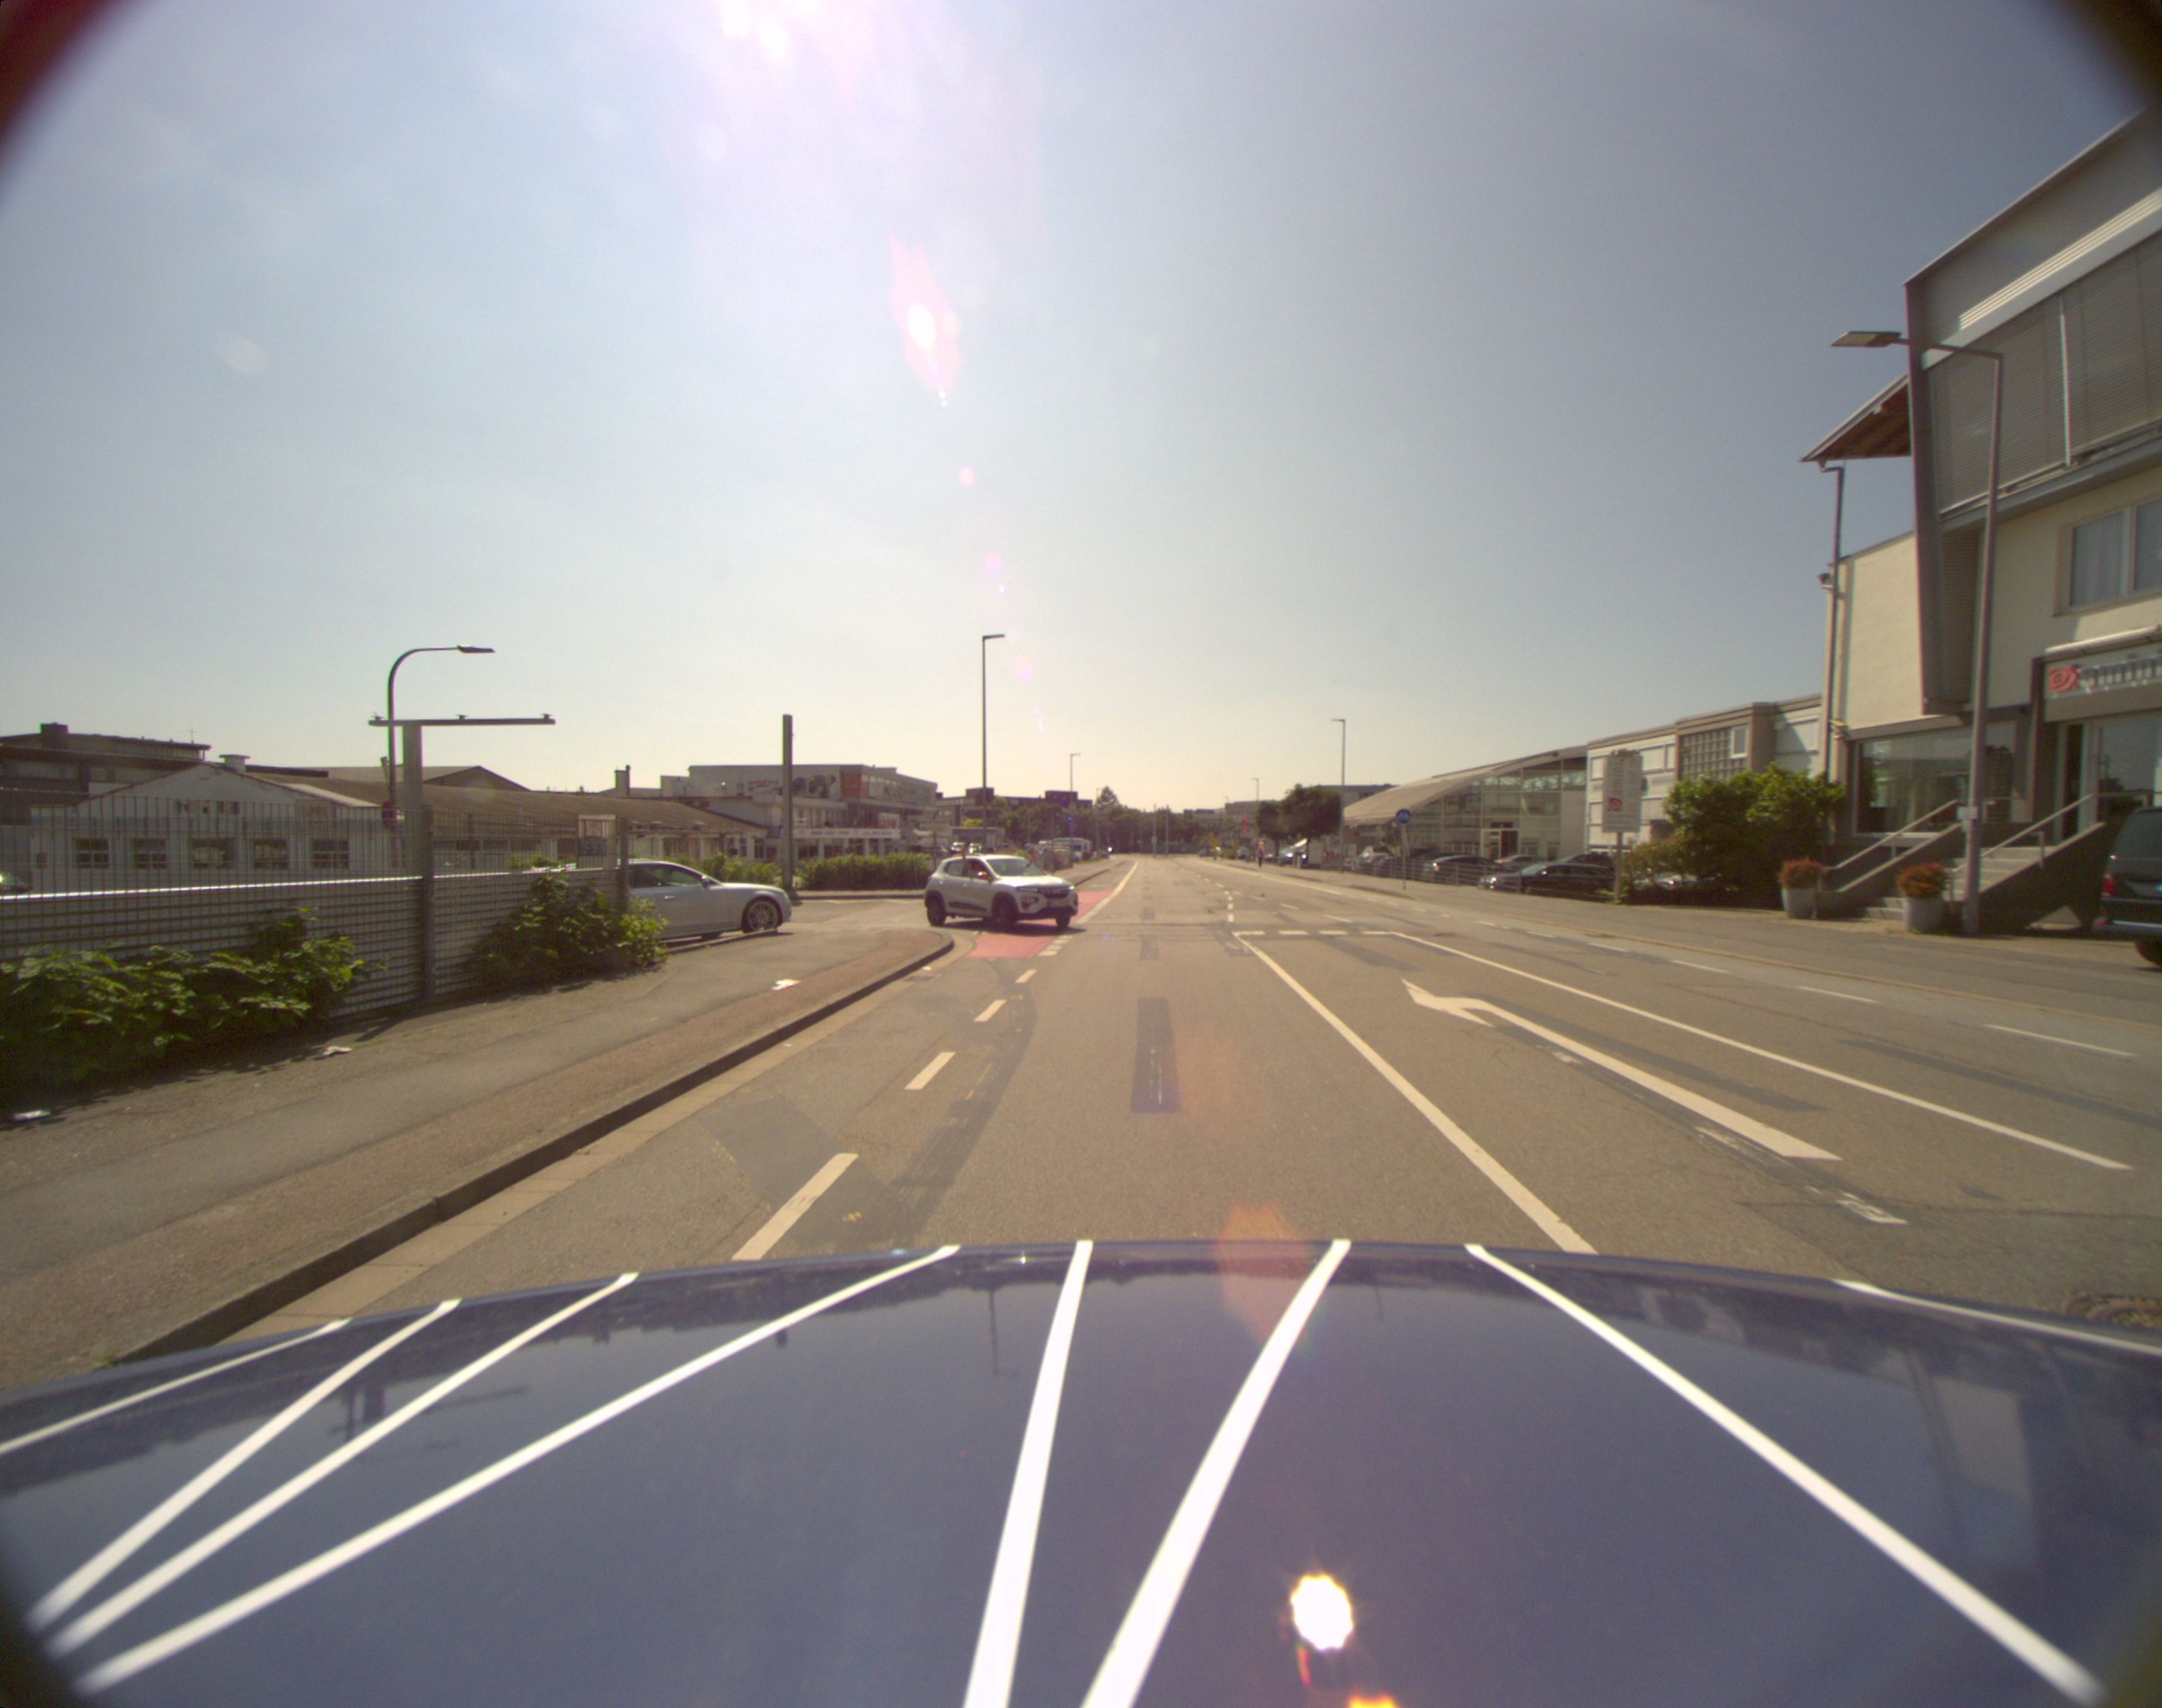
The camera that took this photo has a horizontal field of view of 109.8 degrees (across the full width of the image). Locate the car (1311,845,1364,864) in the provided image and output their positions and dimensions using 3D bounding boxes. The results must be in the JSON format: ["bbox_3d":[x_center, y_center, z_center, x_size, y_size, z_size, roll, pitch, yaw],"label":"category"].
[{"bbox_3d":[21.466,0.034,63.536,4.005,1.541,1.855,-1,0,-26],"label":"car"}]

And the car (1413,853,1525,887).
[{"bbox_3d":[18.429,0.753,36.252,4.306,1.549,1.995,0,1,1],"label":"car"}]

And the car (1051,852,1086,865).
[{"bbox_3d":[-1.452,0.542,90.005,3.930,1.584,1.799,0,1,5],"label":"car"}]

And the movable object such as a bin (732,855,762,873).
[{"bbox_3d":[-26.681,0.796,60.791,1.574,1.447,1.825,-1,1,0],"label":"movable object such as a bin"}]

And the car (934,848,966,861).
[{"bbox_3d":[-18.487,0.071,107.429,4.115,1.723,2.000,0,1,1],"label":"car"}]

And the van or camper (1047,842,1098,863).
[{"bbox_3d":[-1.065,-0.218,98.209,6.362,2.684,2.713,0,1,5],"label":"van or camper"}]

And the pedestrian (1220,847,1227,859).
[{"bbox_3d":[20.361,-0.181,108.574,0.995,1.676,0.800,1,1,16],"label":"pedestrian"}]

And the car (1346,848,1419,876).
[{"bbox_3d":[19.236,0.502,48.538,3.899,1.436,1.823,-4,3,3],"label":"car"}]

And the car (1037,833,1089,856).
[{"bbox_3d":[-2.257,-1.203,95.418,6.240,2.853,2.321,0,1,5],"label":"car"}]

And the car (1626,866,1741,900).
[{"bbox_3d":[28.910,1.373,36.573,3.996,1.537,1.859,0,1,4],"label":"car"}]

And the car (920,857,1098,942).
[{"bbox_3d":[-1.555,0.816,15.448,1.731,1.476,3.666,-2,1,-42],"label":"car"}]

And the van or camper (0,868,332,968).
[{"bbox_3d":[-16.520,1.071,13.485,1.998,1.343,4.230,-6,0,4],"label":"van or camper"}]

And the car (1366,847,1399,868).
[{"bbox_3d":[24.842,0.269,62.646,1.996,1.674,4.004,0,1,13],"label":"car"}]

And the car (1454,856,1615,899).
[{"bbox_3d":[16.773,0.841,28.323,4.749,1.472,2.048,0,1,4],"label":"car"}]

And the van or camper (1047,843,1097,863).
[{"bbox_3d":[-1.200,-0.158,101.112,6.362,2.700,2.713,0,1,5],"label":"van or camper"}]

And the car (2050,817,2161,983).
[{"bbox_3d":[14.388,0.563,8.288,4.575,1.855,2.093,1,1,6],"label":"car"}]

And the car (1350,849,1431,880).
[{"bbox_3d":[18.600,0.608,45.833,3.996,1.435,1.859,6,1,2],"label":"car"}]

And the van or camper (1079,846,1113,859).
[{"bbox_3d":[2.425,-0.217,122.230,5.144,1.950,1.982,1,2,-25],"label":"van or camper"}]

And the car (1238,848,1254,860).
[{"bbox_3d":[23.839,-0.037,110.117,1.908,1.705,4.002,0,1,7],"label":"car"}]

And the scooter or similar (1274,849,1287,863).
[{"bbox_3d":[17.896,0.209,68.089,0.746,1.240,1.490,0,1,-3],"label":"scooter or similar"}]

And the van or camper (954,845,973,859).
[{"bbox_3d":[-17.444,-0.283,112.990,2.122,2.002,5.114,0,0,-1],"label":"van or camper"}]

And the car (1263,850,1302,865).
[{"bbox_3d":[21.606,0.367,81.287,4.168,1.451,1.903,-2,1,-38],"label":"car"}]

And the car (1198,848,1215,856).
[{"bbox_3d":[22.745,-0.453,137.913,1.743,1.396,4.331,1,1,27],"label":"car"}]

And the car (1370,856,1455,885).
[{"bbox_3d":[18.886,0.909,43.380,3.996,1.482,1.858,0,3,1],"label":"car"}]

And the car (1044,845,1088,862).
[{"bbox_3d":[-1.825,-0.043,92.835,5.245,1.941,2.001,1,1,4],"label":"car"}]

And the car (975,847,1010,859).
[{"bbox_3d":[-12.427,-0.142,106.959,4.548,1.668,2.000,0,1,1],"label":"car"}]

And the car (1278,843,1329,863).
[{"bbox_3d":[20.548,-0.107,70.079,4.587,1.687,1.855,-1,0,-30],"label":"car"}]

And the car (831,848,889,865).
[{"bbox_3d":[-19.736,0.191,67.923,4.563,1.283,1.890,-3,1,-44],"label":"car"}]

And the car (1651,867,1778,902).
[{"bbox_3d":[28.418,1.355,34.207,3.994,1.395,1.816,0,2,8],"label":"car"}]

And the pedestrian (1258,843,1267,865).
[{"bbox_3d":[15.988,-0.009,66.965,0.734,1.857,1.048,0,1,9],"label":"pedestrian"}]

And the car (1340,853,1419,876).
[{"bbox_3d":[19.961,0.695,50.938,4.534,1.449,1.901,0,1,3],"label":"car"}]

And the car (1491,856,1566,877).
[{"bbox_3d":[30.436,0.852,51.780,3.995,1.351,1.860,0,1,5],"label":"car"}]

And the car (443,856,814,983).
[{"bbox_3d":[-6.771,0.883,11.902,1.953,1.351,4.504,-4,1,35],"label":"car"}]

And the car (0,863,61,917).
[{"bbox_3d":[-37.436,1.237,25.393,3.996,1.783,2.000,-1,0,1],"label":"car"}]

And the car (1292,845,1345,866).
[{"bbox_3d":[21.001,0.110,67.232,4.487,1.698,1.906,-2,1,-30],"label":"car"}]

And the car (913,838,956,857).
[{"bbox_3d":[-19.617,-0.843,101.690,5.310,2.405,2.326,0,1,0],"label":"car"}]
